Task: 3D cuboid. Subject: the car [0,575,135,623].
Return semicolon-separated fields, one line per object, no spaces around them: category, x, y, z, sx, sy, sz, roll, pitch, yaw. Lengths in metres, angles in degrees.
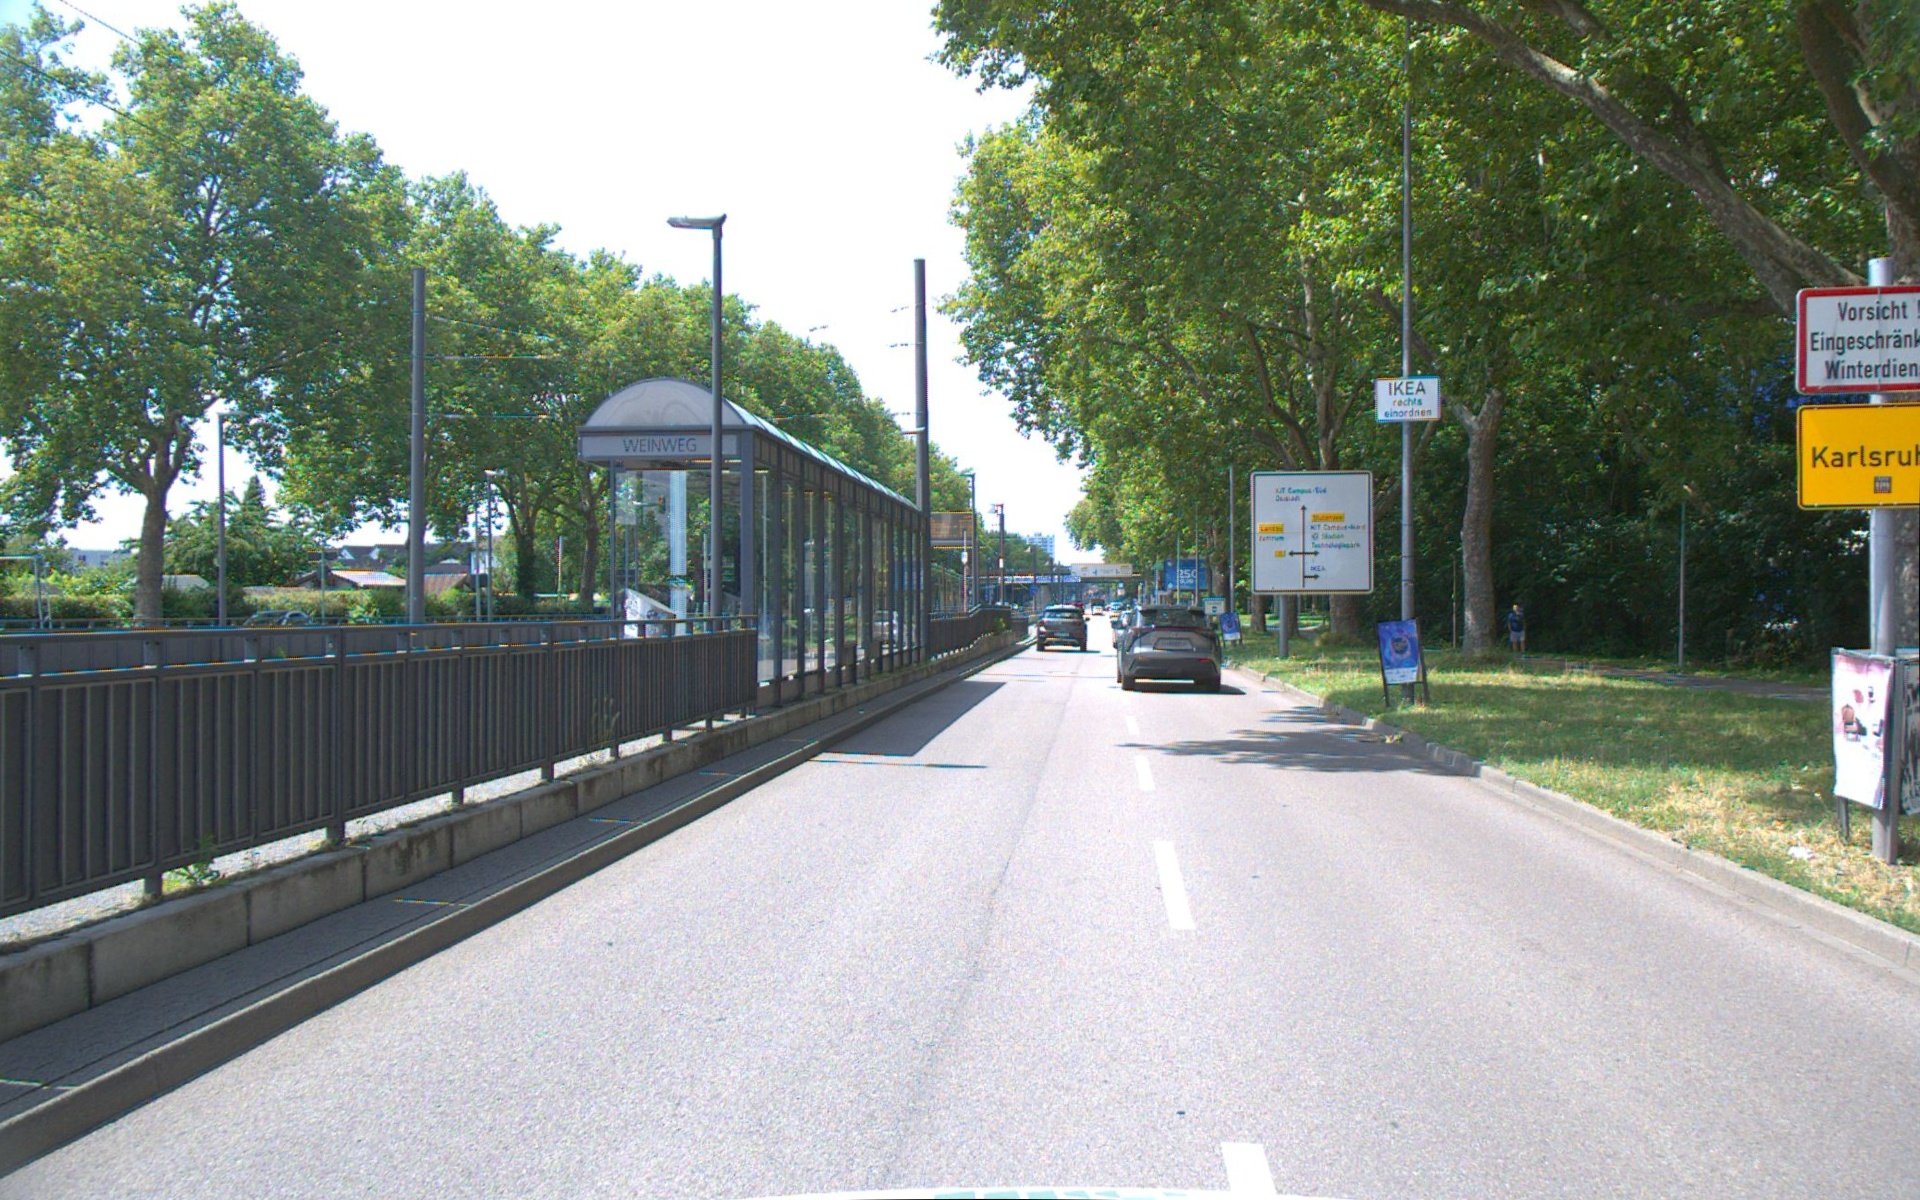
car;-31.861;-0.050;59.068;3.832;1.691;1.911;0;1;7

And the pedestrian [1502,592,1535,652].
pedestrian;19.217;0.752;56.948;0.818;2.049;0.957;1;0;4

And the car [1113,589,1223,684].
car;3.961;0.706;32.097;1.858;1.704;4.521;0;-1;4

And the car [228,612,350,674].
car;-19.413;1.215;48.027;1.672;1.612;4.003;0;1;5

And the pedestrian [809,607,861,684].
pedestrian;-2.006;0.727;26.615;0.769;1.230;0.700;0;-1;2

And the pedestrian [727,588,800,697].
pedestrian;-2.228;0.475;18.792;0.678;1.211;0.642;1;0;5

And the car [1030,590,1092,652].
car;3.631;0.699;58.675;1.951;2.024;4.366;2;1;6

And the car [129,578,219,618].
car;-34.511;-0.117;72.711;1.863;1.691;3.930;0;1;4

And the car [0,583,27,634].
car;-34.162;0.280;56.254;3.832;1.691;1.911;0;1;7

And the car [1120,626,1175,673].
car;6.948;1.803;61.537;1.793;1.659;4.298;0;-1;3

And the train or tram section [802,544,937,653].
train or tram section;-2.792;0.014;56.371;2.973;3.242;14.106;0;0;3

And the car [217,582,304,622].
car;-30.353;0.069;71.880;1.863;1.691;3.930;0;1;4
